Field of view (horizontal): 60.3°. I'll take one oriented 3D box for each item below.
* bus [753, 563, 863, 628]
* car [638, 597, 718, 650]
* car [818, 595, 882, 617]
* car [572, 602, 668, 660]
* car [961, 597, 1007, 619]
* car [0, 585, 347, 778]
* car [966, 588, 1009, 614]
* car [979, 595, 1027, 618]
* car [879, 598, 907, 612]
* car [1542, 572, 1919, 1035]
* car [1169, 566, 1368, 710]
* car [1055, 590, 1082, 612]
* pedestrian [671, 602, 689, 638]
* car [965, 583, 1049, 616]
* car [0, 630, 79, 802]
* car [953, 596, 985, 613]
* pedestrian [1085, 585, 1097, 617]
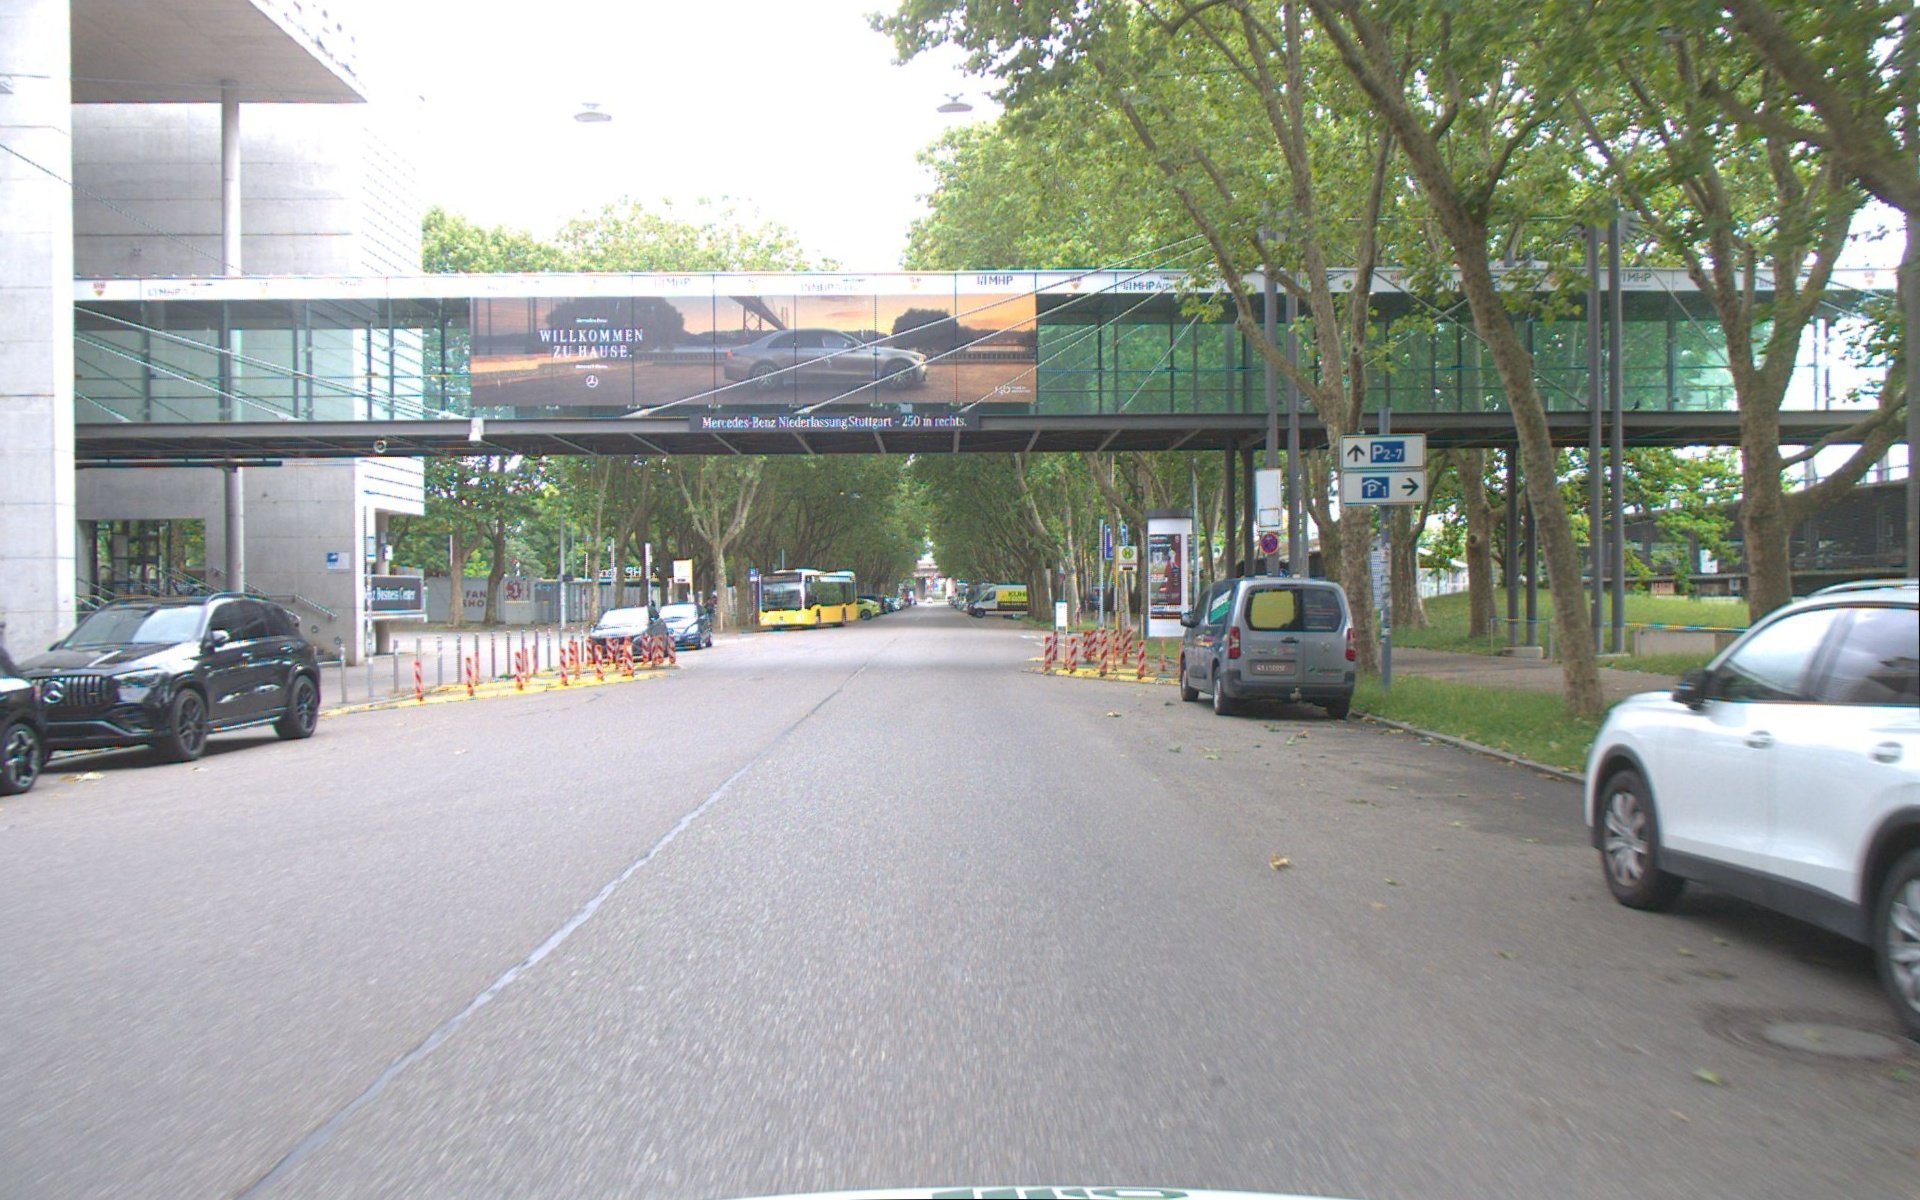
[{"bbox_3d":[-8.079,-0.263,90.344,2.974,3.215,12.687,-3,0,8],"label":"bus"},{"bbox_3d":[-9.605,0.787,56.597,1.953,1.612,4.113,-4,0,0],"label":"car"},{"bbox_3d":[-8.210,0.433,123.487,4.604,1.612,1.864,-1,0,0],"label":"car"},{"bbox_3d":[-9.845,0.874,48.199,1.820,1.478,4.448,-4,0,0],"label":"car"},{"bbox_3d":[2.037,0.708,141.015,3.906,1.825,1.542,-1,0,-2],"label":"car"},{"bbox_3d":[-8.987,0.808,18.975,1.993,1.820,4.907,-4,0,0],"label":"car"},{"bbox_3d":[2.512,0.091,151.665,3.906,2.380,1.542,-1,0,-2],"label":"car"},{"bbox_3d":[3.565,0.559,136.921,3.904,1.819,1.520,-1,0,1],"label":"car"},{"bbox_3d":[-9.667,0.709,237.400,3.905,2.004,2.000,-1,0,0],"label":"car"},{"bbox_3d":[4.334,0.717,7.219,1.875,1.646,4.748,-1,0,0],"label":"car"},{"bbox_3d":[4.254,0.479,23.620,1.810,1.814,5.210,1,0,-1],"label":"car"},{"bbox_3d":[9.244,0.094,141.072,1.953,1.803,3.999,-1,0,0],"label":"car"},{"bbox_3d":[-12.709,0.907,75.006,0.659,1.631,0.606,0,0,-26],"label":"pedestrian"},{"bbox_3d":[3.768,-0.072,133.594,6.687,2.557,2.315,-1,0,-3],"label":"car"},{"bbox_3d":[-9.096,1.068,13.280,1.670,1.444,4.324,-3,0,0],"label":"car"},{"bbox_3d":[1.004,0.515,186.792,3.548,1.825,1.542,-1,0,-2],"label":"car"},{"bbox_3d":[7.796,0.071,98.357,0.562,1.921,0.616,0,0,-9],"label":"pedestrian"}]
